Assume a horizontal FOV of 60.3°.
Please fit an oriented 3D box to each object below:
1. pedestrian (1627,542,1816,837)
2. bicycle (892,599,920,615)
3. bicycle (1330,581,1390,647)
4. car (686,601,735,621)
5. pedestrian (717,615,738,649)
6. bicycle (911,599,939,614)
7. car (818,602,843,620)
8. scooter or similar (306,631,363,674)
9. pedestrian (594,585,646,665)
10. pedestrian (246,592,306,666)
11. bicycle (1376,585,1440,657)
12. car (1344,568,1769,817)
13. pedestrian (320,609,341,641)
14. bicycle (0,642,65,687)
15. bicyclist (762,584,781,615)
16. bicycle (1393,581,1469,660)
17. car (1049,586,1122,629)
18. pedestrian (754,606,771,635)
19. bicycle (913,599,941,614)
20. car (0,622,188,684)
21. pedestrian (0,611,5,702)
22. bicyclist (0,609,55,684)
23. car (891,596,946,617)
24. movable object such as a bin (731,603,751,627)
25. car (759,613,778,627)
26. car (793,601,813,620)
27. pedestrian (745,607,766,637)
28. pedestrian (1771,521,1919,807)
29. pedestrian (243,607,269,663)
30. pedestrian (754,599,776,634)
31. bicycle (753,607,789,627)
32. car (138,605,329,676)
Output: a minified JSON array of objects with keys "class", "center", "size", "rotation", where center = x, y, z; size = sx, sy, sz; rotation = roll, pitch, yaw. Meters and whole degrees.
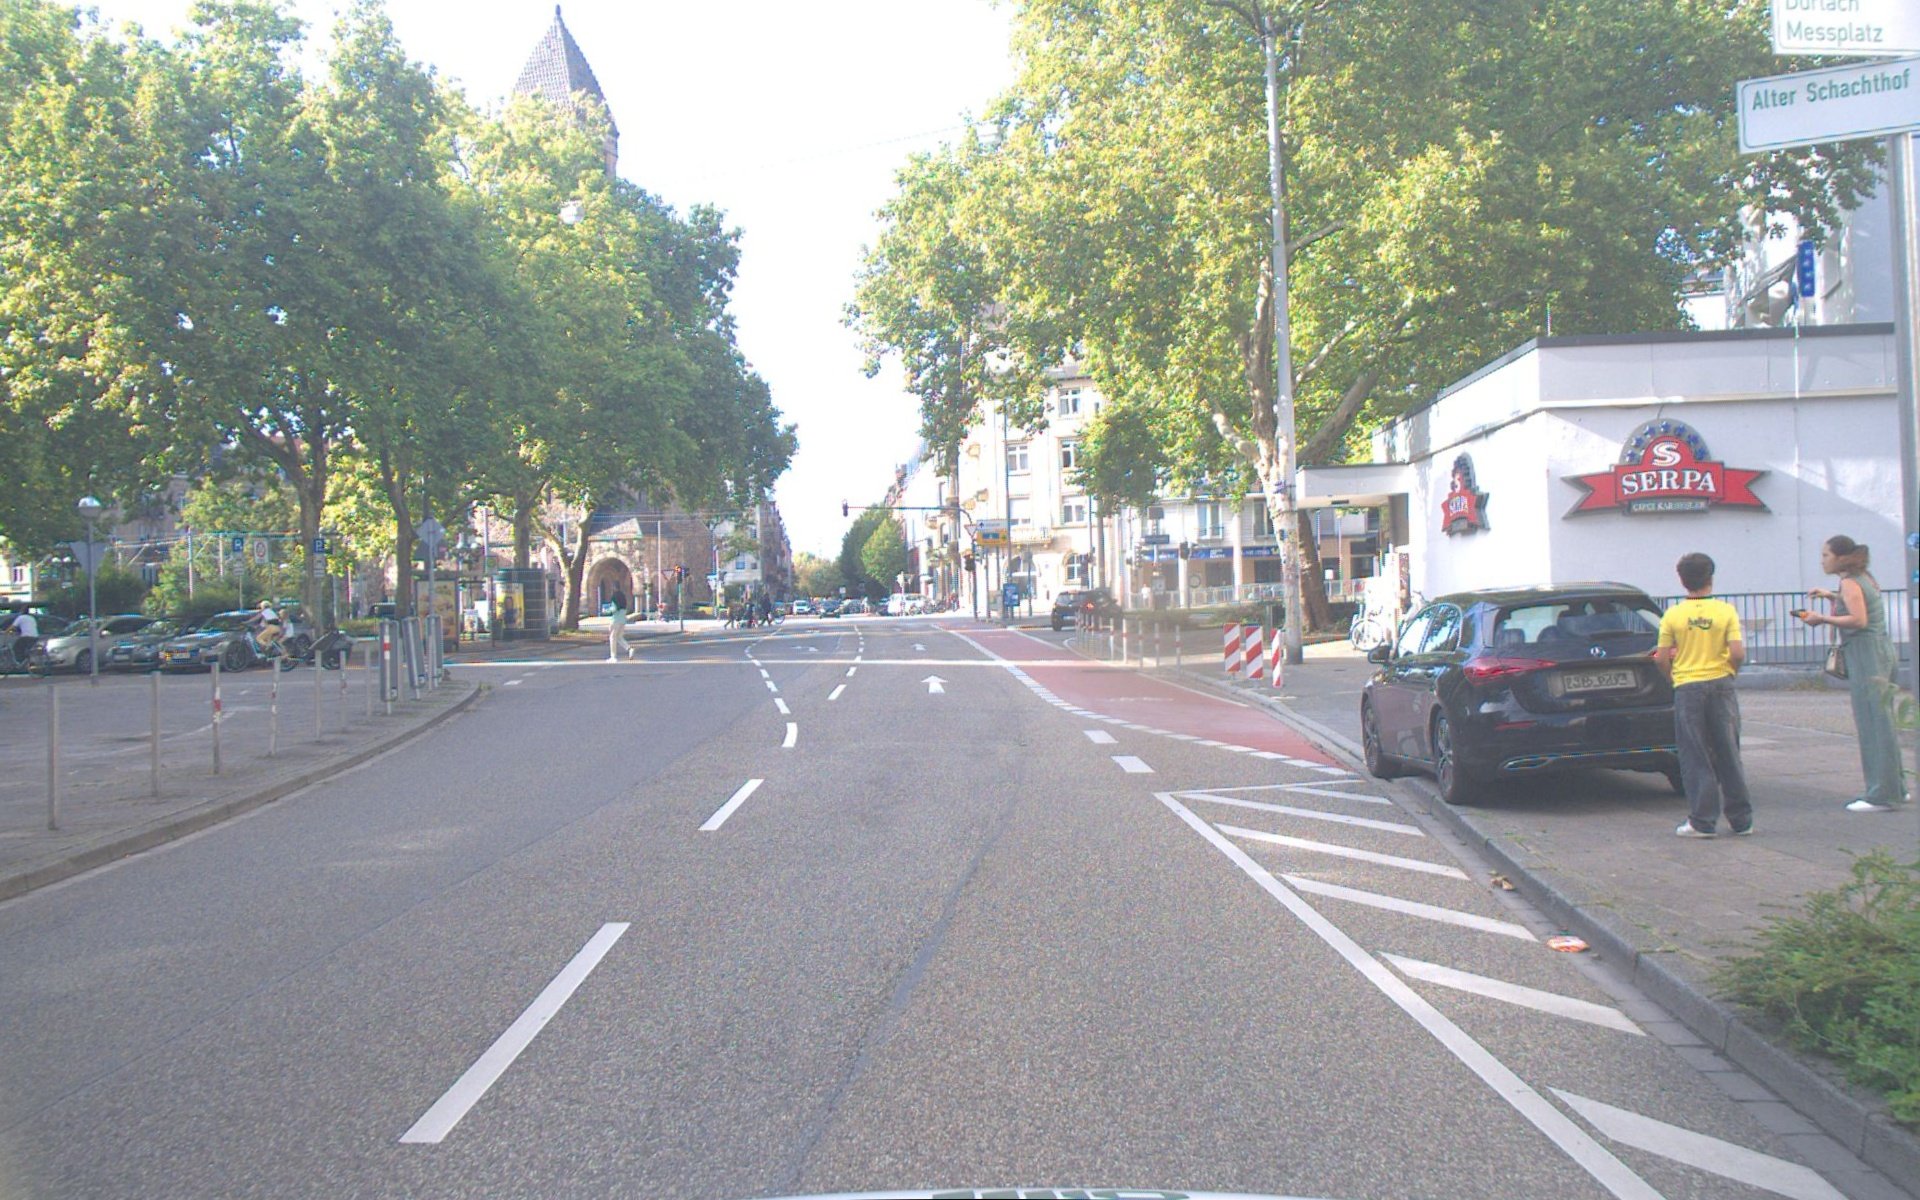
[{"class":"pedestrian","center":[4.282,0.483,9.346],"size":[0.639,1.565,0.743],"rotation":[-3,0,-1]},{"class":"bicycle","center":[-4.036,0.532,124.016],"size":[1.988,1.101,0.618],"rotation":[-2,0,-14]},{"class":"bicycle","center":[8.042,0.286,33.313],"size":[0.698,1.226,1.815],"rotation":[-5,-1,1]},{"class":"car","center":[-22.501,0.948,149.187],"size":[3.969,1.624,1.839],"rotation":[-3,1,-44]},{"class":"pedestrian","center":[-11.733,1.621,83.400],"size":[0.798,1.657,0.605],"rotation":[-3,0,20]},{"class":"bicycle","center":[-2.665,0.499,124.779],"size":[1.988,1.101,0.628],"rotation":[-2,0,-14]},{"class":"car","center":[-10.487,0.868,133.810],"size":[1.911,1.396,3.996],"rotation":[-2,0,-5]},{"class":"scooter or similar","center":[-14.610,1.219,38.653],"size":[0.990,0.939,0.808],"rotation":[-2,0,-2]},{"class":"pedestrian","center":[-7.791,0.566,37.870],"size":[1.057,1.784,0.915],"rotation":[-1,0,-17]},{"class":"pedestrian","center":[-15.947,0.673,38.588],"size":[1.052,1.683,0.815],"rotation":[-2,0,-5]},{"class":"bicycle","center":[7.978,0.355,29.501],"size":[0.696,1.227,1.771],"rotation":[-2,0,2]},{"class":"car","center":[4.153,0.556,12.280],"size":[1.724,1.436,4.234],"rotation":[-3,0,3]},{"class":"pedestrian","center":[-26.271,1.045,68.995],"size":[0.713,1.311,0.810],"rotation":[0,0,-30]},{"class":"bicycle","center":[-22.342,1.531,39.373],"size":[1.880,1.011,0.763],"rotation":[-1,0,20]},{"class":"bicyclist","center":[-9.964,-0.048,87.433],"size":[0.762,1.607,0.625],"rotation":[-2,0,21]},{"class":"bicycle","center":[7.865,0.325,27.677],"size":[0.753,1.227,1.816],"rotation":[-3,0,2]},{"class":"car","center":[4.539,0.252,59.390],"size":[1.715,1.438,4.002],"rotation":[-1,0,18]},{"class":"pedestrian","center":[-9.861,1.024,82.537],"size":[0.641,1.457,0.499],"rotation":[-2,0,18]},{"class":"bicycle","center":[-2.474,0.493,124.160],"size":[1.988,1.101,0.618],"rotation":[-2,0,-14]},{"class":"car","center":[-23.497,1.405,45.020],"size":[1.632,1.401,4.841],"rotation":[-2,0,17]},{"class":"pedestrian","center":[-17.338,1.014,29.219],"size":[0.726,1.606,0.723],"rotation":[-2,0,-35]},{"class":"bicyclist","center":[-22.323,1.108,39.385],"size":[1.086,1.721,0.815],"rotation":[-2,0,19]},{"class":"car","center":[-3.181,0.459,126.472],"size":[3.912,1.445,1.996],"rotation":[-2,0,-8]},{"class":"movable object such as a bin","center":[-11.003,0.752,83.126],"size":[0.820,1.143,0.575],"rotation":[-2,0,19]},{"class":"car","center":[-18.421,1.946,158.971],"size":[1.519,1.251,3.586],"rotation":[-1,0,-2]},{"class":"car","center":[-18.066,1.205,190.500],"size":[1.953,2.049,3.999],"rotation":[-2,0,-1]},{"class":"pedestrian","center":[-10.124,1.092,81.980],"size":[0.765,1.457,0.731],"rotation":[-2,0,20]},{"class":"pedestrian","center":[5.479,0.373,10.116],"size":[0.639,1.674,0.743],"rotation":[-1,0,-1]},{"class":"pedestrian","center":[-22.371,1.114,52.588],"size":[0.490,1.745,0.706],"rotation":[-2,0,-3]},{"class":"pedestrian","center":[-9.833,0.836,83.455],"size":[0.764,1.691,0.779],"rotation":[-2,0,18]},{"class":"bicycle","center":[-9.984,0.887,87.427],"size":[1.792,0.972,0.573],"rotation":[-2,0,22]},{"class":"car","center":[-19.029,1.029,43.629],"size":[2.186,1.613,4.979],"rotation":[-2,0,10]}]
